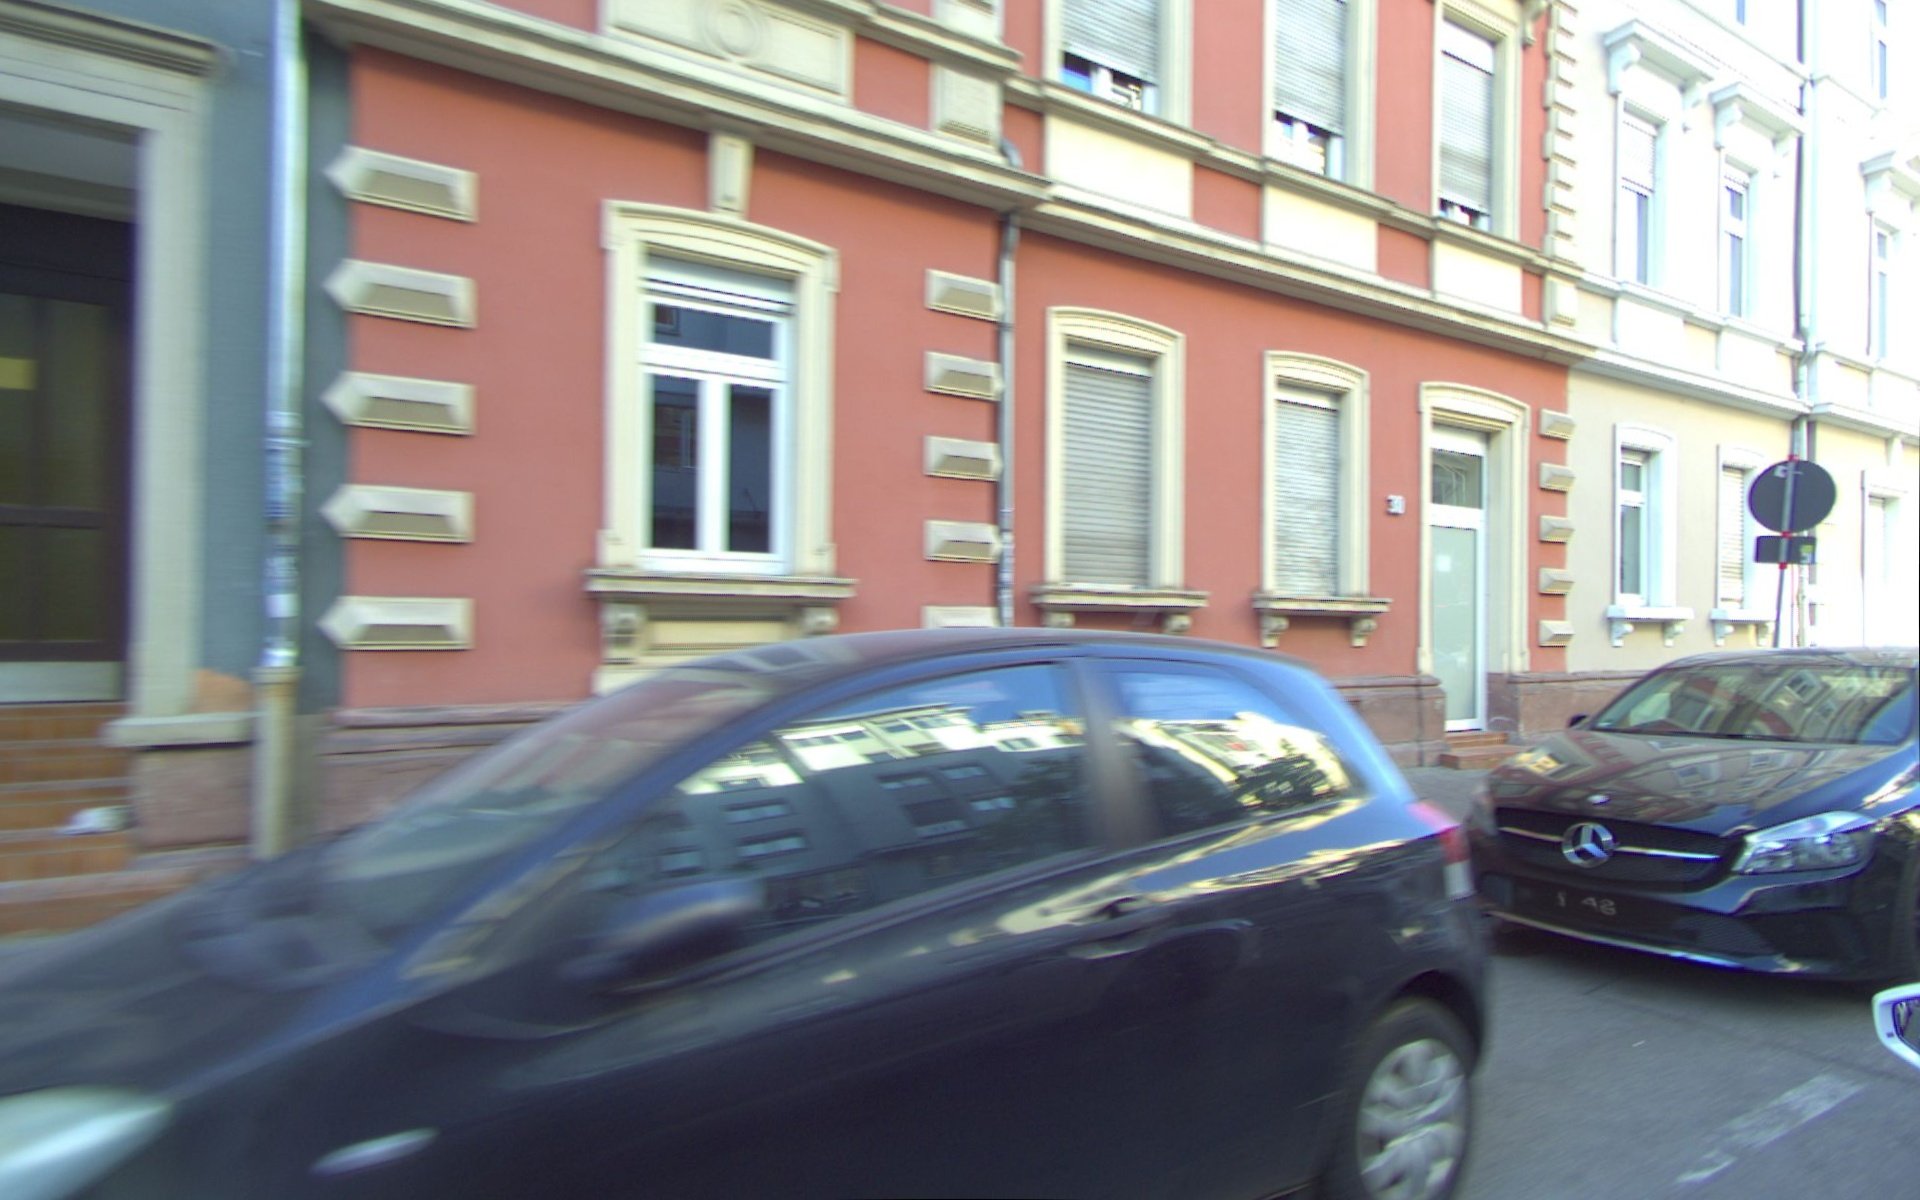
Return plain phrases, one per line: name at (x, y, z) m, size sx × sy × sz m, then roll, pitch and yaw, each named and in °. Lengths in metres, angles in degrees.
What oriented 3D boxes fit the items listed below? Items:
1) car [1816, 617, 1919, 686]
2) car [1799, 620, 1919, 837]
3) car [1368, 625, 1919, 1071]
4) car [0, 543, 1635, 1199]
car at (22.651, 1.231, 24.141) m, size 1.574 × 1.560 × 2.774 m, roll 1°, pitch 0°, yaw -29°
car at (8.912, 0.953, 8.181) m, size 4.218 × 1.580 × 1.911 m, roll 1°, pitch -3°, yaw -31°
car at (4.358, 0.915, 5.345) m, size 4.218 × 1.503 × 1.911 m, roll 1°, pitch -3°, yaw -31°
car at (-0.324, 0.793, 2.648) m, size 4.192 × 1.580 × 1.892 m, roll 1°, pitch -3°, yaw -31°
